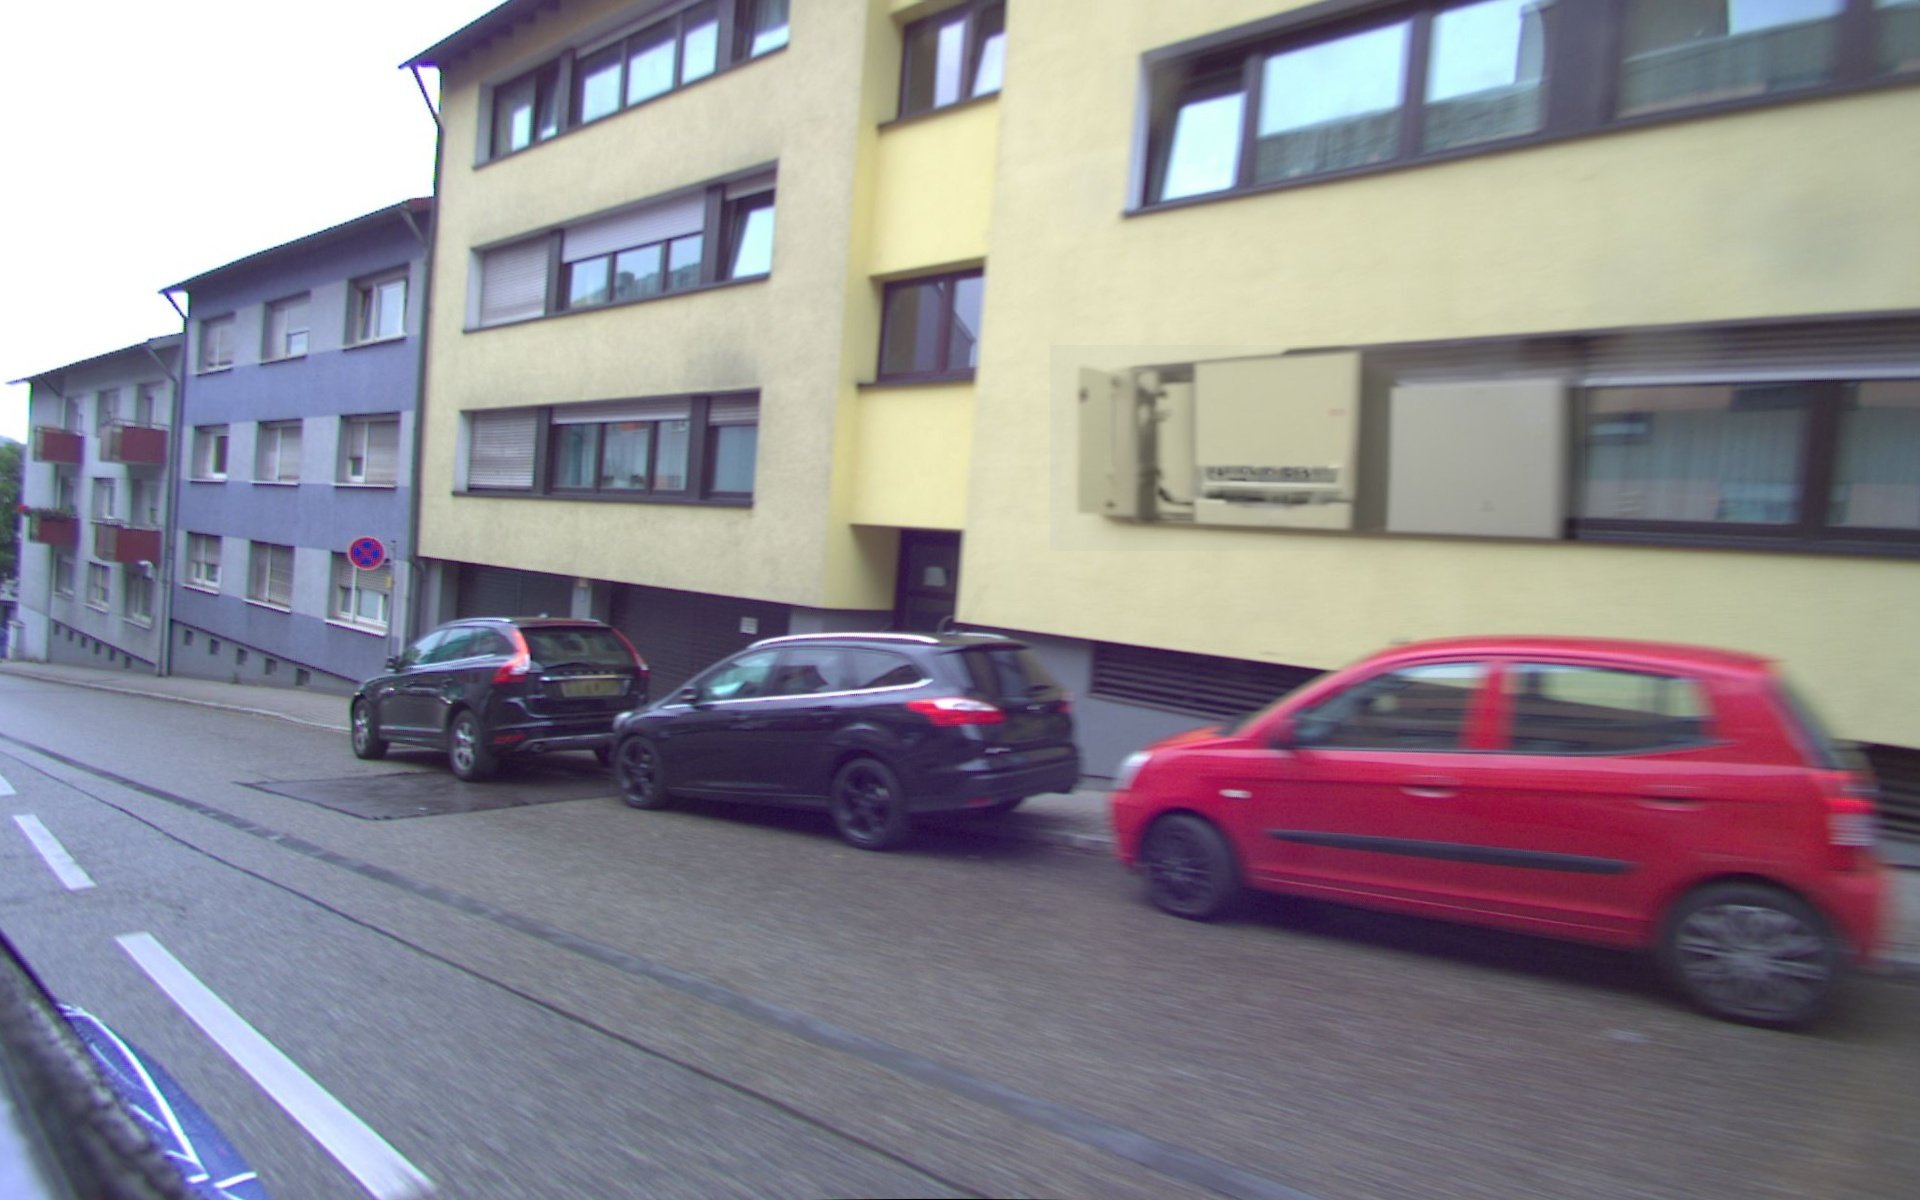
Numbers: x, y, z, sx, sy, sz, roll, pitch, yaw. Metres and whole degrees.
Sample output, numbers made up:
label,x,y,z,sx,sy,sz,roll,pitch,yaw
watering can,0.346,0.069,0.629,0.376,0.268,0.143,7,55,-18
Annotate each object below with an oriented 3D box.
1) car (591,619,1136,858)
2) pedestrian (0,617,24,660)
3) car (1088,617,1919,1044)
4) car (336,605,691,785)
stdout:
label,x,y,z,sx,sy,sz,roll,pitch,yaw
car,-0.940,0.961,8.436,4.341,1.483,1.975,-2,-4,37
pedestrian,-37.160,1.503,39.396,1.085,1.553,0.861,-8,-5,36
car,2.600,0.882,5.203,3.485,1.483,1.712,-2,-4,37
car,-5.215,0.980,11.566,4.438,1.662,1.973,-2,-4,41
